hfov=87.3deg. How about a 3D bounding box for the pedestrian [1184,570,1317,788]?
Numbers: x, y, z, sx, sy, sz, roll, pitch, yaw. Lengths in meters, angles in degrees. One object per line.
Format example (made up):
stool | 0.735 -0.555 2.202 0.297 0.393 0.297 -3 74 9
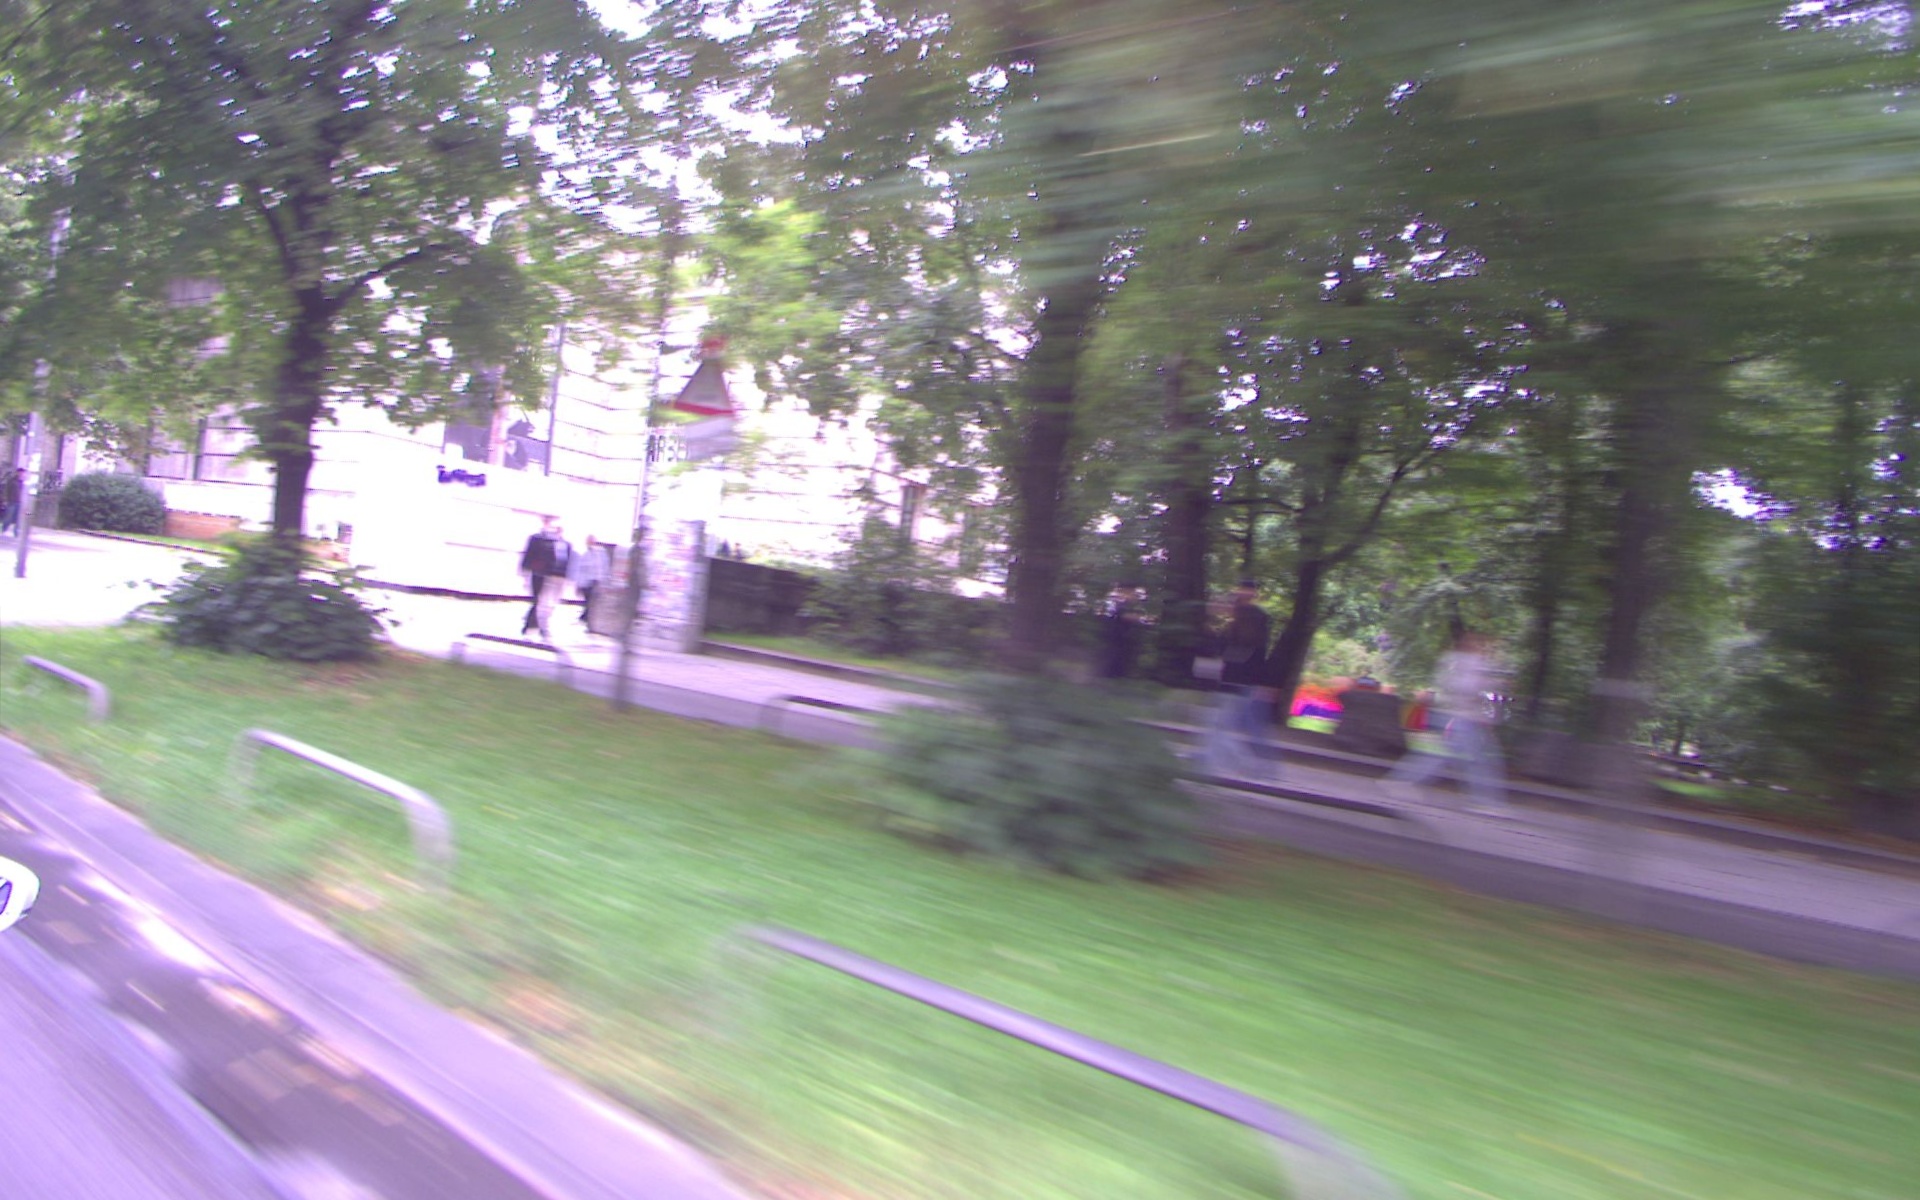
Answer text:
pedestrian | 2.579 0.684 8.923 0.784 1.784 0.608 7 0 34

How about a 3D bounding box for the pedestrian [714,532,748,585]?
pedestrian | -7.187 -1.302 31.583 0.758 1.576 0.488 7 0 31

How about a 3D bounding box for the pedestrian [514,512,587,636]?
pedestrian | -6.368 -0.405 15.664 0.710 1.833 0.596 6 2 7

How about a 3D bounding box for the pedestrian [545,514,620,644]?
pedestrian | -5.618 -0.308 15.000 0.710 1.833 0.596 6 2 7

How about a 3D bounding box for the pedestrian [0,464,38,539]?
pedestrian | -26.437 -2.748 28.030 0.758 1.933 0.765 7 0 31

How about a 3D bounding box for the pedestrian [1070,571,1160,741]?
pedestrian | 1.642 0.594 10.605 0.544 1.695 0.580 7 0 34

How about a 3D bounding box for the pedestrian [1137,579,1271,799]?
pedestrian | 2.060 0.736 8.494 0.741 1.701 0.608 7 0 34

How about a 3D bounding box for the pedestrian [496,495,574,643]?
pedestrian | -6.142 -0.440 14.524 0.712 2.040 0.594 7 3 31

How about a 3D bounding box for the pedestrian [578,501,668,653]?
pedestrian | -4.757 -0.316 14.209 0.763 2.041 0.763 7 4 31

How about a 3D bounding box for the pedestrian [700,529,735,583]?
pedestrian | -7.489 -1.359 31.075 0.758 1.576 0.488 7 0 31

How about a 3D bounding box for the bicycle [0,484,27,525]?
bicycle | -35.789 -3.614 37.580 2.260 1.433 0.700 7 1 31

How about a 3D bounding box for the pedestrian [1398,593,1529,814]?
pedestrian | 4.456 0.898 8.895 0.769 1.795 0.631 7 0 34
